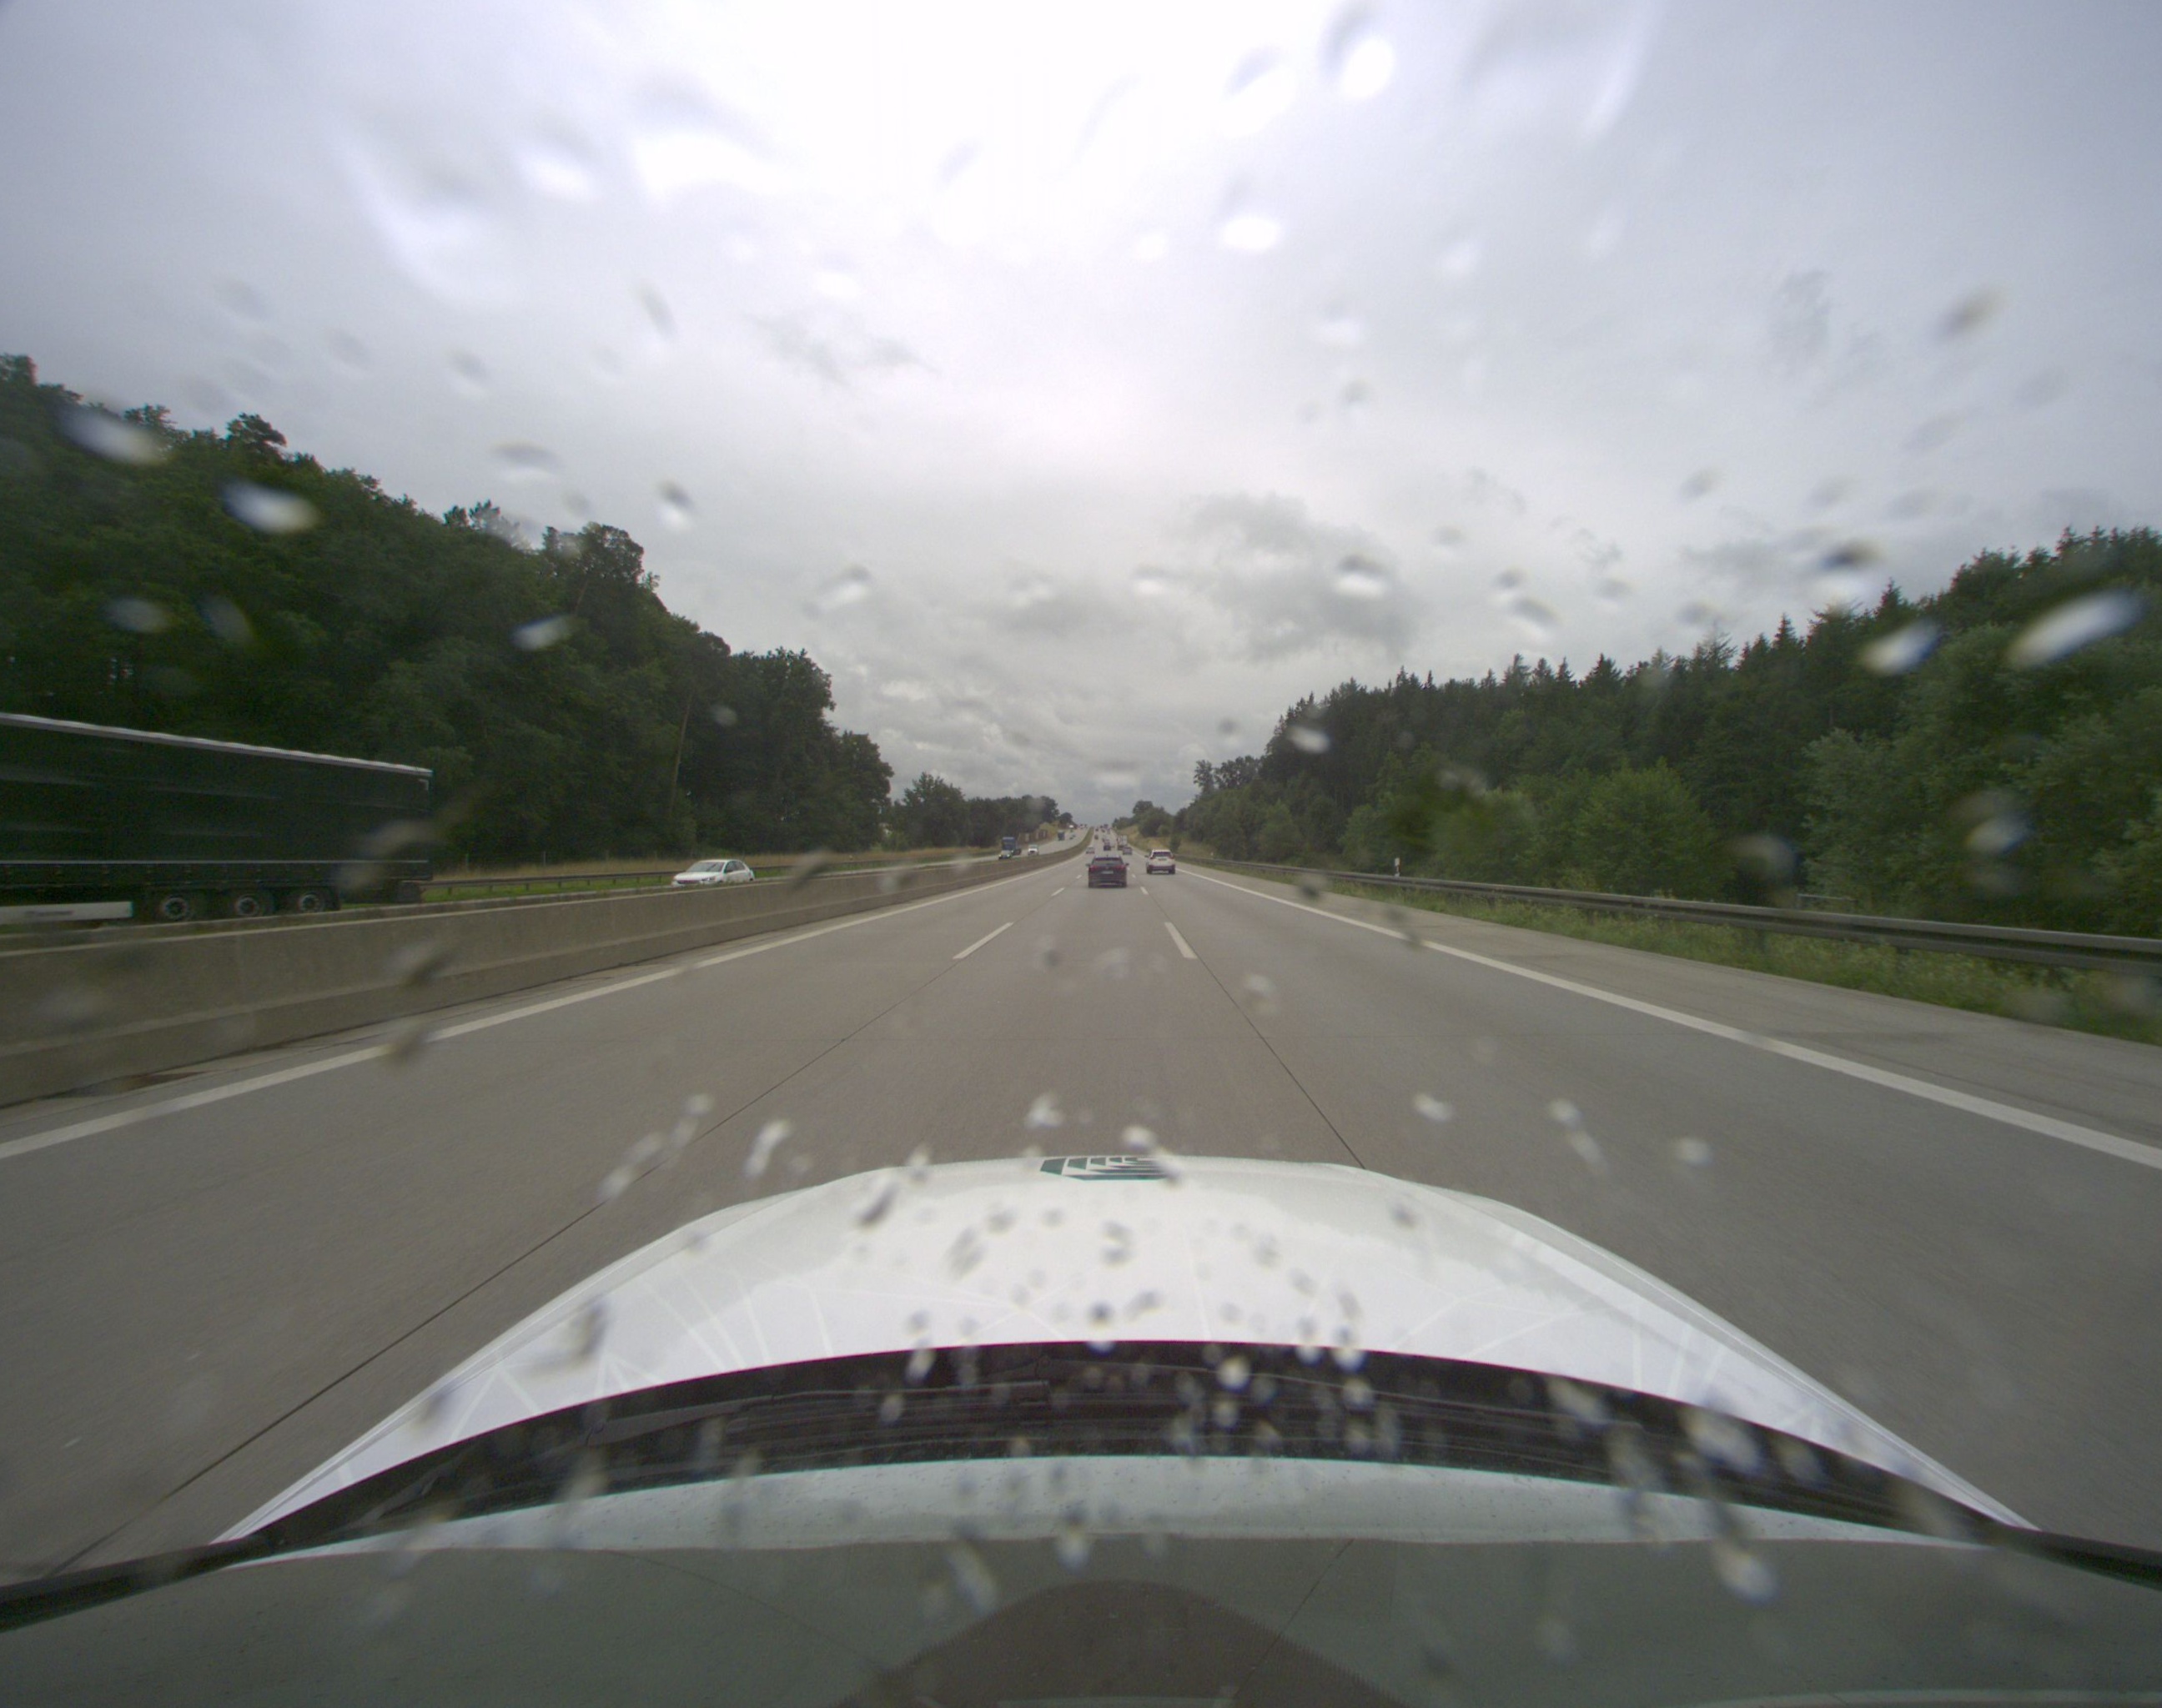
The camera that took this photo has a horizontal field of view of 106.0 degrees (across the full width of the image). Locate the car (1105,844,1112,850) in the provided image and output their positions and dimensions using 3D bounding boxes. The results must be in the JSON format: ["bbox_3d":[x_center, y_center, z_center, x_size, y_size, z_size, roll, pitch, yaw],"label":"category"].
[{"bbox_3d":[6.962,-1.747,206.095,1.927,1.375,4.597,0,1,2],"label":"car"}]

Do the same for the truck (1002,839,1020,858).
[{"bbox_3d":[-13.741,-1.067,159.595,2.746,3.516,6.643,0,0,2],"label":"truck"}]

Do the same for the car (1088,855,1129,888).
[{"bbox_3d":[1.312,0.773,37.344,1.745,1.398,4.487,0,-1,3],"label":"car"}]

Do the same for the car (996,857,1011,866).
[{"bbox_3d":[-11.739,1.097,123.304,1.841,1.376,4.436,0,0,0],"label":"car"}]

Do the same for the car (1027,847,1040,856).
[{"bbox_3d":[-9.520,-0.524,163.420,2.080,1.801,5.499,1,0,2],"label":"car"}]

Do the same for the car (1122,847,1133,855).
[{"bbox_3d":[9.024,-0.618,158.741,1.986,1.530,4.002,1,0,2],"label":"car"}]

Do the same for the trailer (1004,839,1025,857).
[{"bbox_3d":[-13.538,-1.120,166.423,2.775,3.507,13.891,0,0,2],"label":"trailer"}]

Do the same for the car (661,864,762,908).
[{"bbox_3d":[-14.185,1.177,31.590,1.777,1.468,4.373,1,0,2],"label":"car"}]

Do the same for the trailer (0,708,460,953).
[{"bbox_3d":[-19.395,-0.398,15.903,3.222,4.052,14.139,0,0,2],"label":"trailer"}]

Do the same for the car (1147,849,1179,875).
[{"bbox_3d":[5.558,0.513,55.728,1.820,1.655,3.985,-1,0,0],"label":"car"}]

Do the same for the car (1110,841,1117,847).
[{"bbox_3d":[9.594,-2.887,242.956,1.985,1.639,4.004,0,1,3],"label":"car"}]

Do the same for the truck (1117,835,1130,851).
[{"bbox_3d":[11.104,-2.969,213.342,3.006,4.180,8.357,0,1,1],"label":"truck"}]

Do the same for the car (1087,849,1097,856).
[{"bbox_3d":[2.404,-0.376,174.129,1.940,1.356,4.262,-1,-1,3],"label":"car"}]
